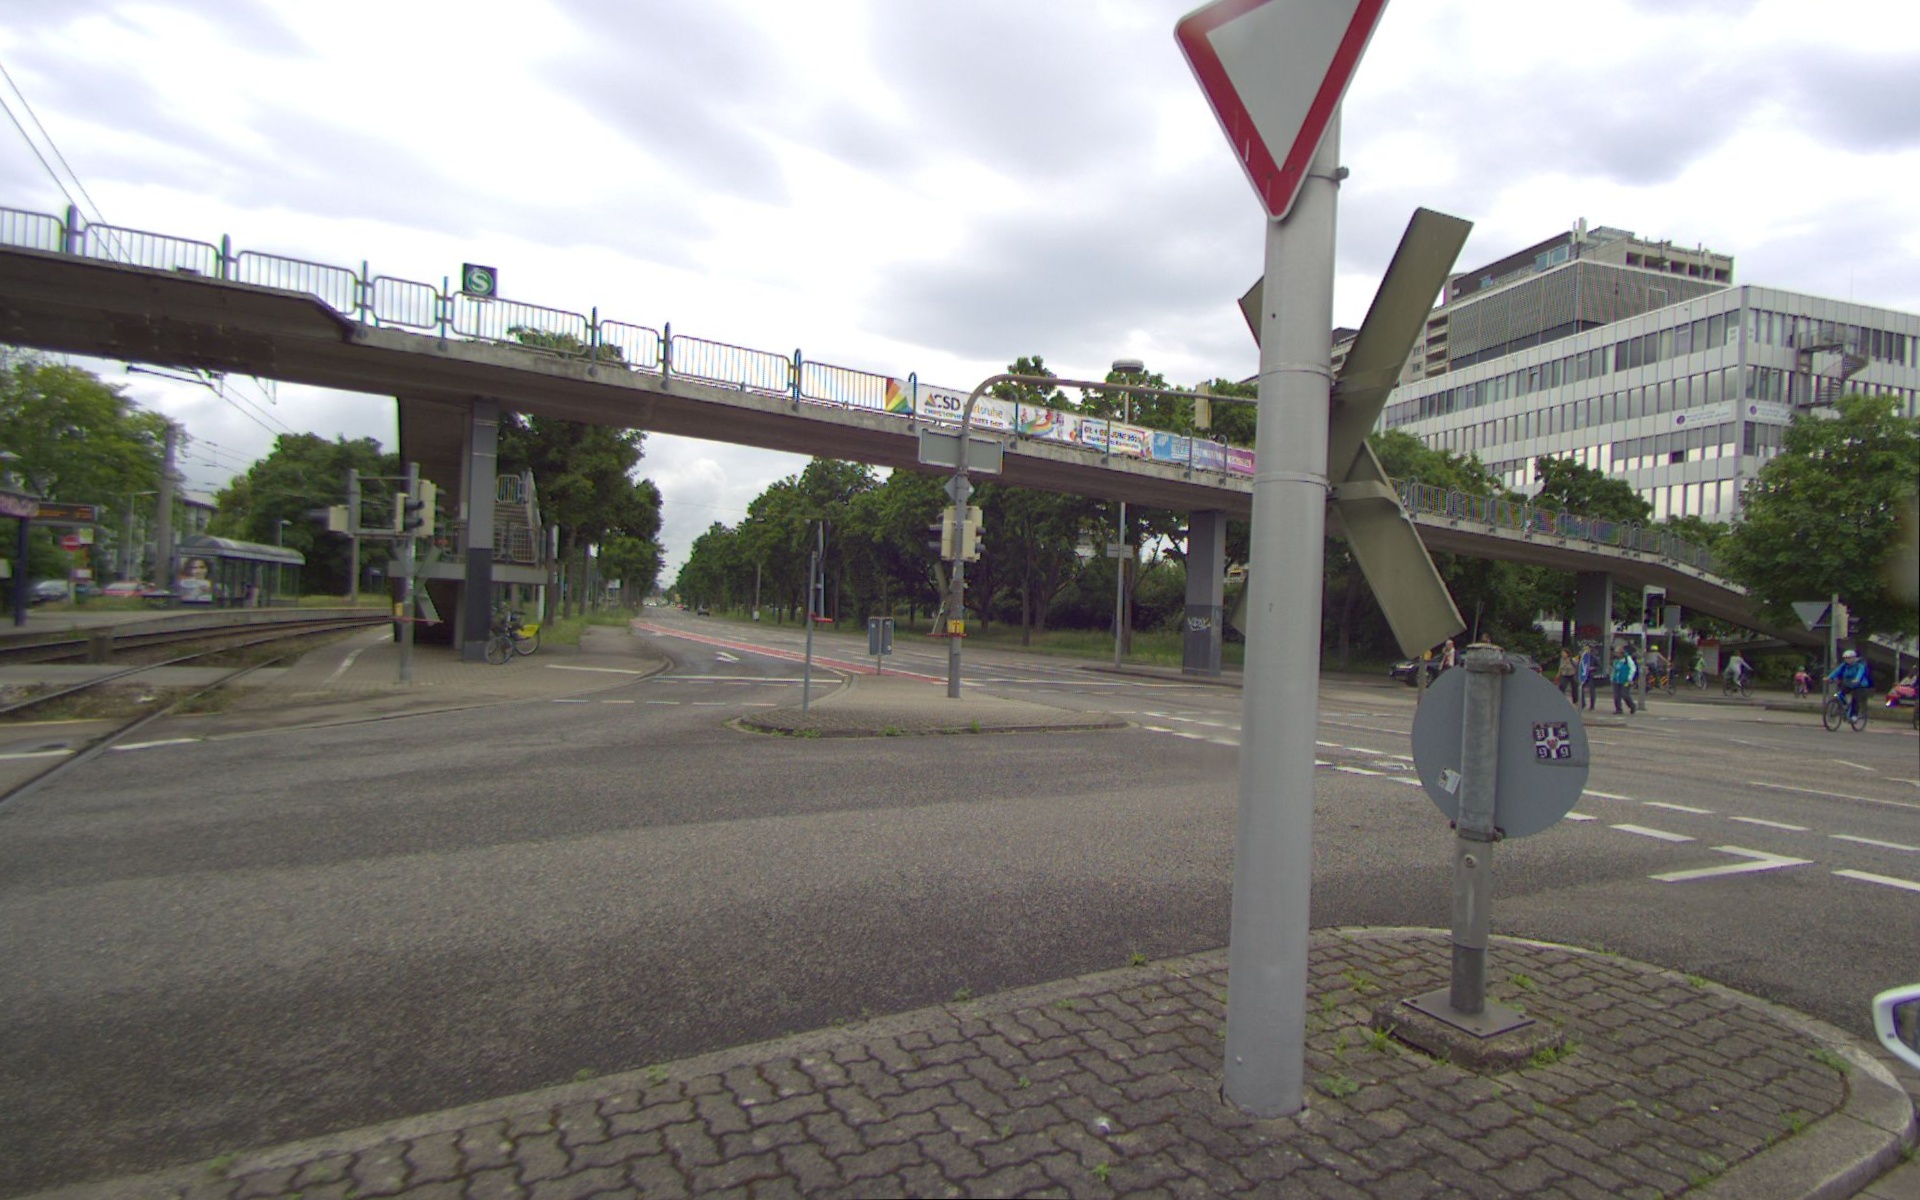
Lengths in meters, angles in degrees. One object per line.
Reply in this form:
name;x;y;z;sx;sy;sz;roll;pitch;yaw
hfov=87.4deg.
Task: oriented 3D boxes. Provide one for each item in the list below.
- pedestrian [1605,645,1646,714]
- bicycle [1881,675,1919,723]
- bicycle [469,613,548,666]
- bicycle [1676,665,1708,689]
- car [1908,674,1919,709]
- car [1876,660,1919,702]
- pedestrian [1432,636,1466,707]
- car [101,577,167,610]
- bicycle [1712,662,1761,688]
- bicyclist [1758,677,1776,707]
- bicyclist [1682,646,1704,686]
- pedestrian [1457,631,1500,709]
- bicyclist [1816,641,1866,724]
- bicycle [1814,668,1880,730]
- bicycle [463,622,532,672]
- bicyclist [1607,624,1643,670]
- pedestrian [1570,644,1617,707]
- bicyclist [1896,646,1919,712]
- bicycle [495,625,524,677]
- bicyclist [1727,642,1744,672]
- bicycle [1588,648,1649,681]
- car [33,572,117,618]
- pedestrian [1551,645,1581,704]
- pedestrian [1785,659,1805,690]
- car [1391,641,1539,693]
pedestrian;16.432;1.951;24.800;0.483;1.626;0.682;3;-1;-36
bicycle;24.005;2.472;25.240;2.240;1.115;0.722;3;-1;-33
bicycle;-9.816;0.861;21.880;0.345;1.109;1.612;2;-1;31
bicycle;31.649;3.324;43.419;1.690;0.961;0.523;4;-1;-32
car;44.653;4.191;45.413;3.849;1.572;1.662;3;-1;-32
car;35.134;2.982;36.535;3.487;1.408;1.507;4;-2;-27
pedestrian;12.148;1.772;24.968;0.612;1.713;0.403;2;-1;44
car;-45.229;-0.351;55.081;1.616;1.709;3.978;2;-1;-22
bicycle;31.225;3.019;40.380;1.928;0.961;0.759;3;-1;-26
bicyclist;35.327;4.026;43.984;0.561;1.233;0.428;3;-1;-33
bicyclist;31.785;2.858;43.571;0.526;1.666;0.562;4;-2;-32
pedestrian;12.635;1.700;24.462;0.796;1.827;0.631;3;-1;-41
bicyclist;19.595;1.829;22.350;0.640;1.792;0.640;3;-1;-32
bicycle;19.834;2.204;22.437;2.088;1.284;0.539;3;-1;-33
bicycle;-9.221;0.917;20.120;0.547;0.900;2.403;3;-1;-8
bicyclist;28.516;1.999;43.087;1.114;1.918;0.852;2;-1;-30
pedestrian;16.130;1.912;25.572;0.401;1.531;0.908;3;-1;-43
bicyclist;24.171;1.997;25.316;0.687;1.615;0.675;4;-2;-32
bicycle;-9.122;1.012;20.378;0.368;0.933;2.028;3;-1;-20
bicyclist;31.235;2.285;40.458;0.373;1.197;0.403;2;-1;-30
bicycle;28.149;2.749;42.929;3.192;1.332;0.852;3;-1;-31
car;-42.182;-0.236;47.997;1.810;2.040;3.976;2;-1;-24
pedestrian;16.940;2.065;28.095;0.572;1.600;0.778;2;-1;39
pedestrian;35.371;3.158;42.533;0.453;1.287;0.497;3;-1;-30
car;17.488;2.315;34.985;4.309;1.528;1.673;2;-1;15
